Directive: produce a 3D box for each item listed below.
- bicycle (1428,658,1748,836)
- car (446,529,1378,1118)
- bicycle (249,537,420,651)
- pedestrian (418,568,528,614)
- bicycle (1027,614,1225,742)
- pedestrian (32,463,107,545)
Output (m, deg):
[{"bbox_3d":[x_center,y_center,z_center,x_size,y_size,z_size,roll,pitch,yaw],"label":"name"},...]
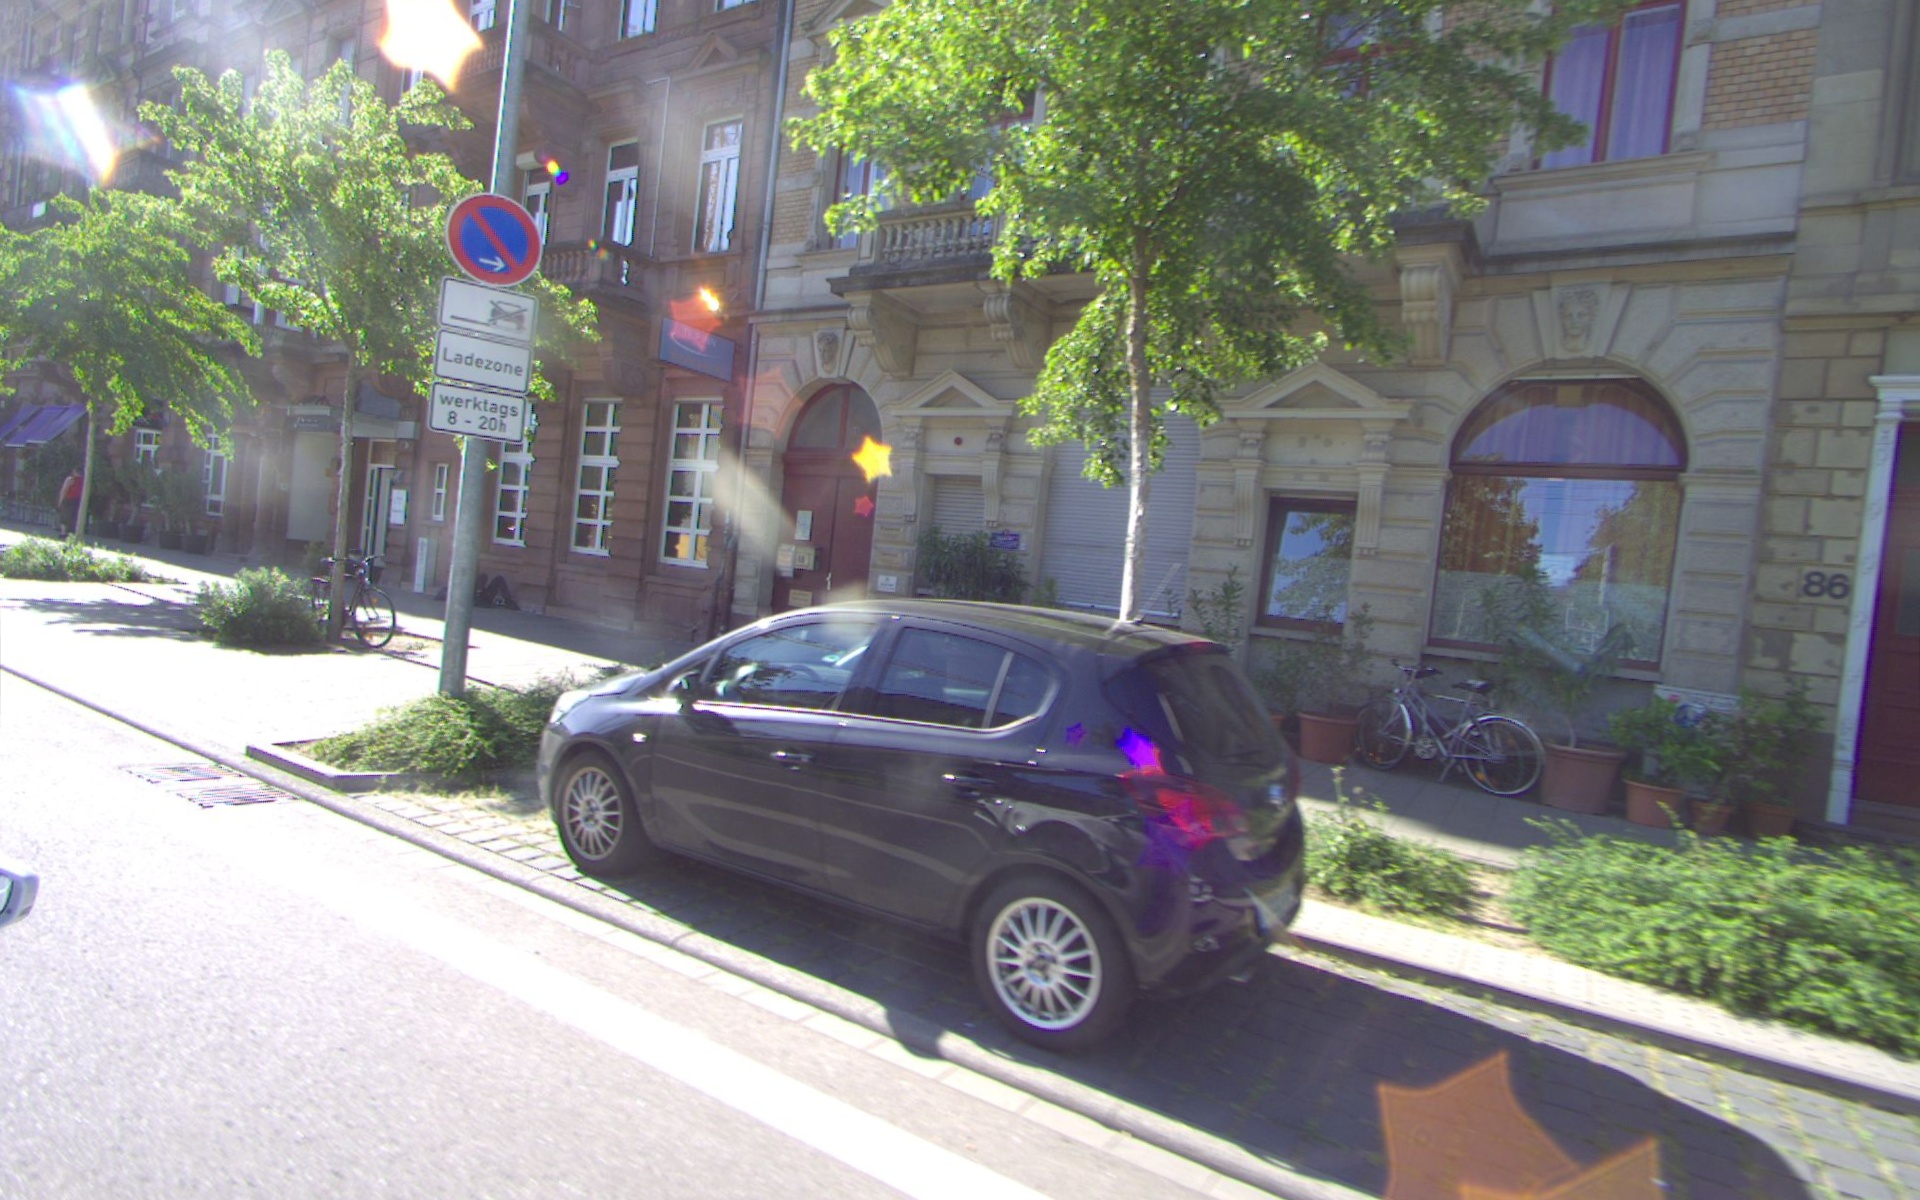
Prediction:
[{"bbox_3d":[5.330,1.195,8.698,2.162,1.105,0.721,7,2,32],"label":"bicycle"},{"bbox_3d":[-0.389,0.630,4.943,4.150,1.591,1.883,6,3,32],"label":"car"},{"bbox_3d":[-7.440,-0.085,11.939,2.134,1.135,0.651,6,2,26],"label":"bicycle"},{"bbox_3d":[-8.548,-0.155,17.622,1.974,0.560,0.773,7,1,32],"label":"pedestrian"},{"bbox_3d":[1.785,0.815,11.059,2.023,1.105,0.481,7,3,32],"label":"bicycle"},{"bbox_3d":[-20.944,-2.259,23.666,0.852,1.752,0.997,6,0,31],"label":"pedestrian"}]
